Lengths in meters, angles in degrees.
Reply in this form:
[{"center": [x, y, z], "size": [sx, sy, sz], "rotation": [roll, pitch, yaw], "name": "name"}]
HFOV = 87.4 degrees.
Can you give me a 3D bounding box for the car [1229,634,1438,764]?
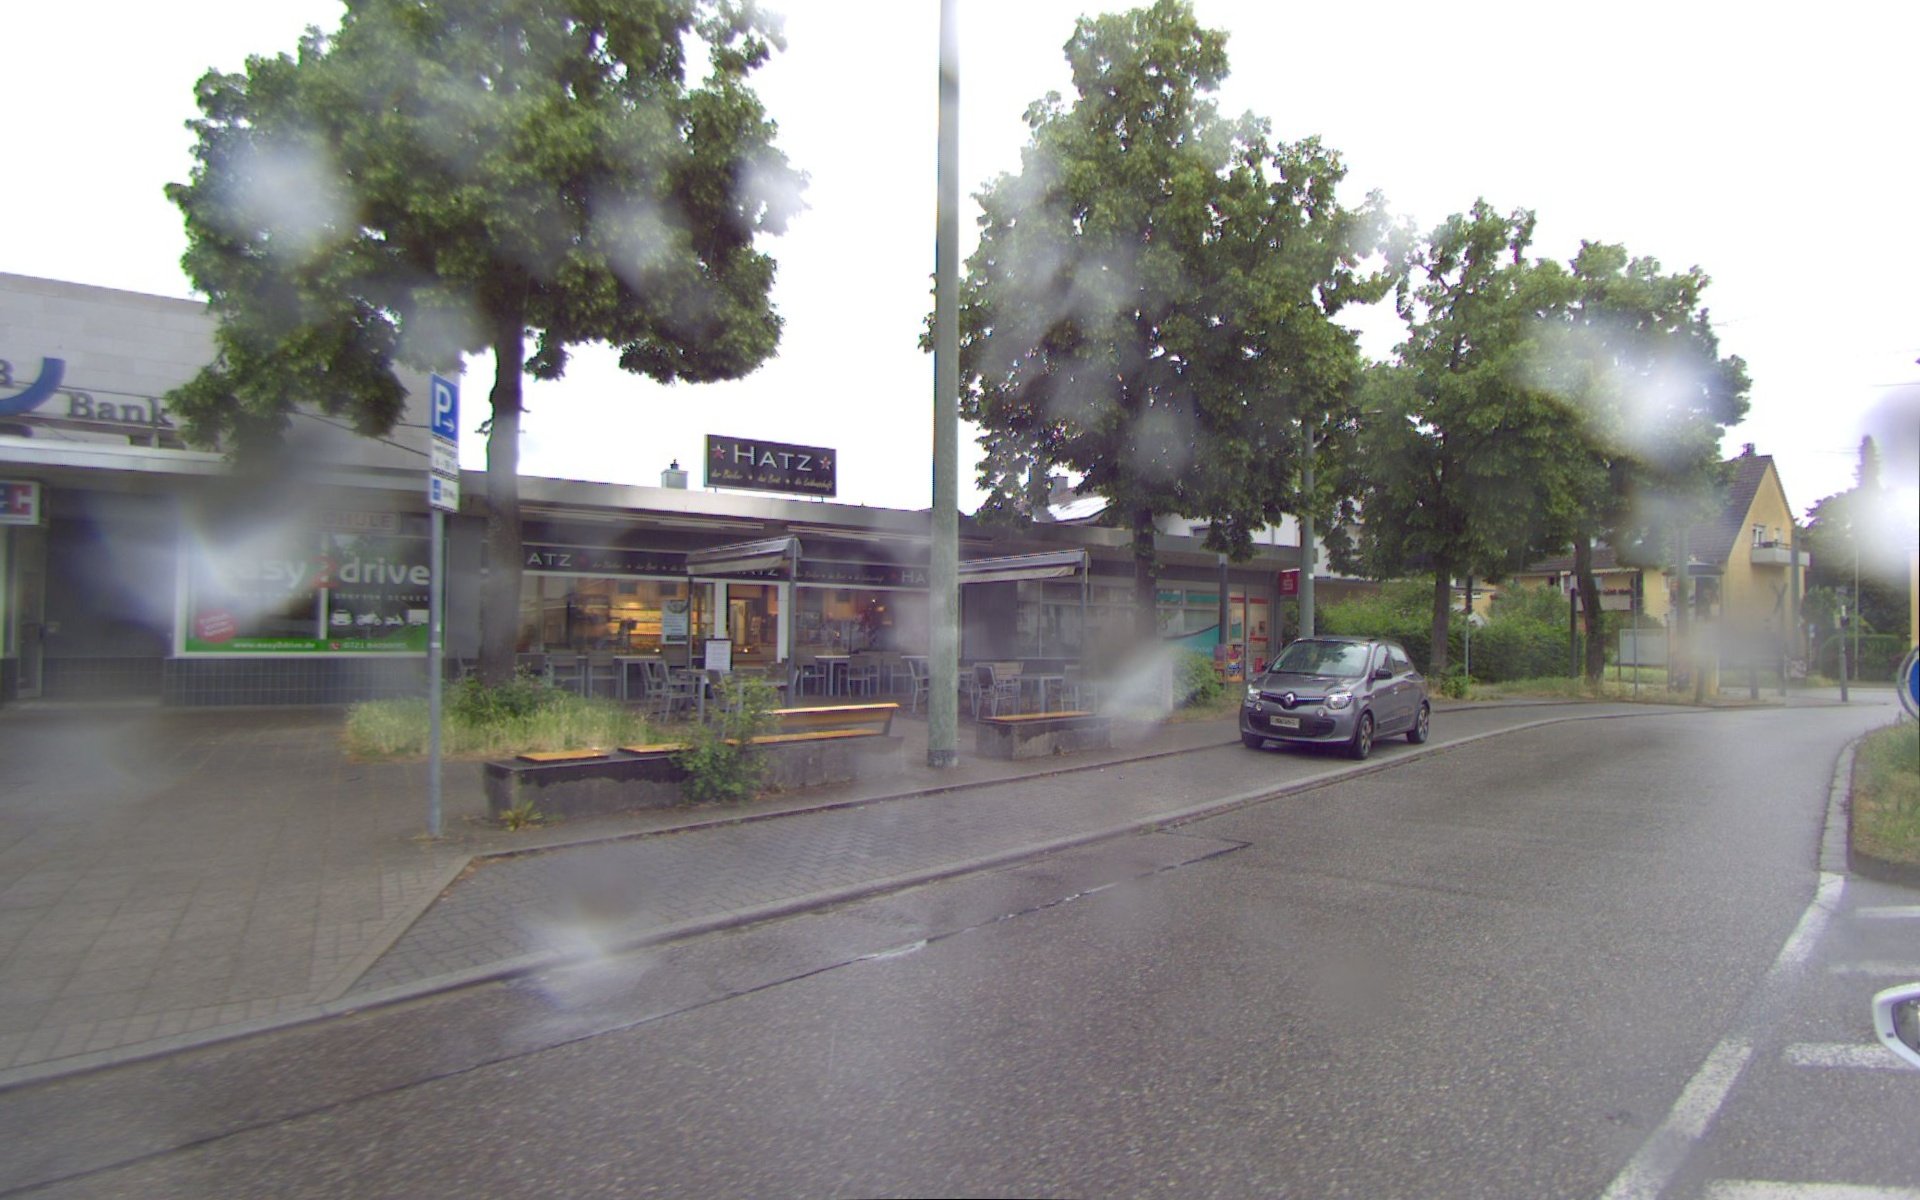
[{"center": [5.391, 1.291, 14.243], "size": [1.598, 1.516, 3.649], "rotation": [2, -1, 41], "name": "car"}]
